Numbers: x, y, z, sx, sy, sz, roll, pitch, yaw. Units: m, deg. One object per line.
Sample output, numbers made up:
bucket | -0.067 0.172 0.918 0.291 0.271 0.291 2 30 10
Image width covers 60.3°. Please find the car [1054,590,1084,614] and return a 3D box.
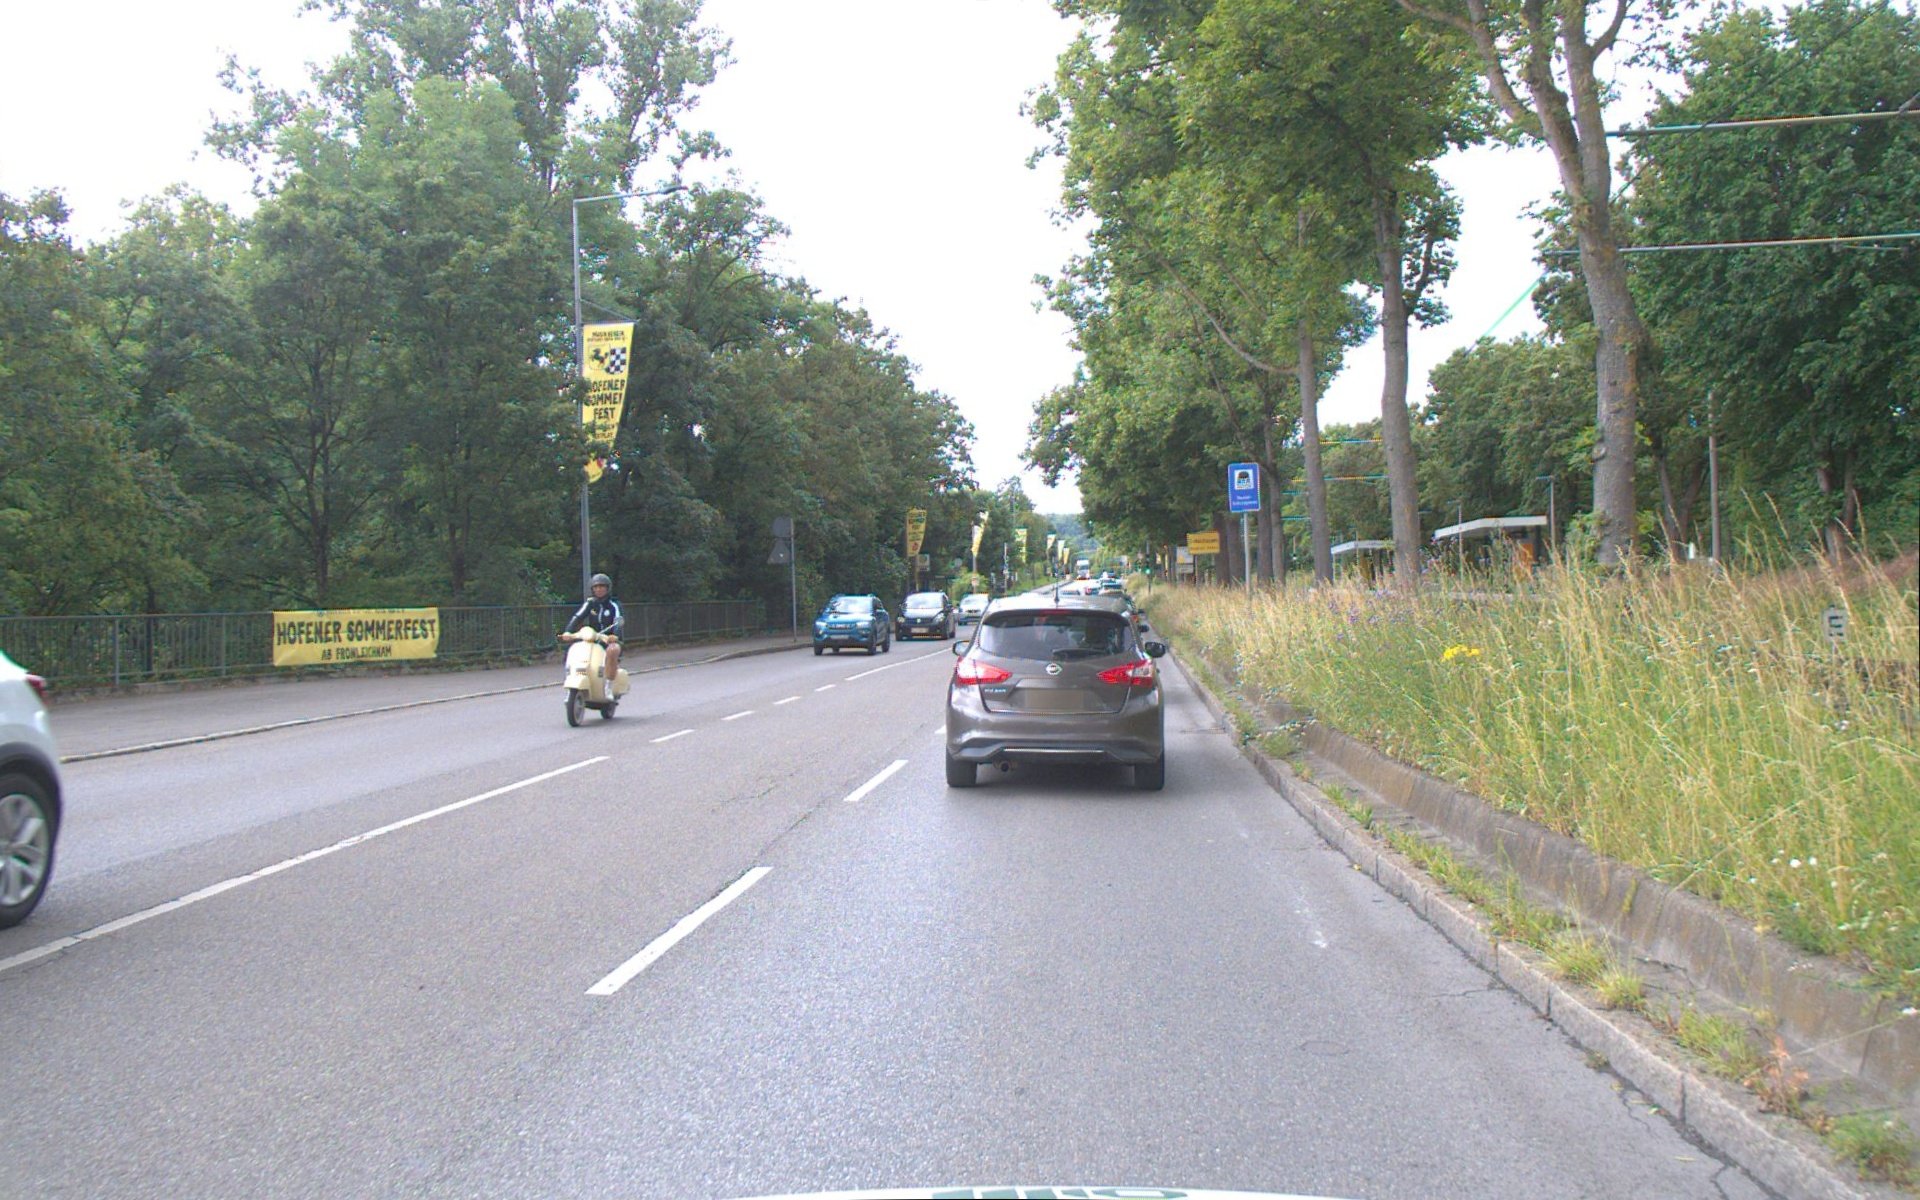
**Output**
car | 7.349 0.141 111.389 1.812 1.512 4.423 -1 -1 6

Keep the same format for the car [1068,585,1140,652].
car | 3.617 0.468 41.937 1.545 1.565 4.001 -2 -1 1

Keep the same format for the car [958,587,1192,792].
car | 0.857 0.707 14.381 1.738 1.520 3.999 1 -1 0

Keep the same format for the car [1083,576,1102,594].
car | 11.643 -1.293 145.346 1.682 1.426 3.727 -2 -2 5

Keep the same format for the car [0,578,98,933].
car | -4.998 0.668 5.768 1.730 1.505 4.002 0 0 3

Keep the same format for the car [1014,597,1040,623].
car | 4.836 0.764 119.792 1.682 1.723 3.727 -2 -2 5

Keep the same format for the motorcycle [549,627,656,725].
motorcycle | -4.157 0.861 19.376 0.729 1.051 1.889 0 0 4

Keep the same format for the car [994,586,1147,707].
car | 1.512 0.653 24.070 1.854 1.601 3.998 0 -1 -2

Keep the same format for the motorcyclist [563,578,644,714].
motorcyclist | -4.168 0.527 19.386 0.729 1.566 0.791 0 0 4

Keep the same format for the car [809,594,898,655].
car | -2.716 0.662 43.032 1.685 1.467 4.002 -2 -2 5

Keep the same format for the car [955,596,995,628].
car | 0.768 0.604 81.968 1.715 1.445 4.001 -2 -2 4

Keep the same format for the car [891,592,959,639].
car | -1.136 0.488 55.150 1.779 1.488 4.003 -1 0 5

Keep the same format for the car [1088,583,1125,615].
car | 7.416 -0.031 83.457 1.766 1.567 4.002 1 -1 6

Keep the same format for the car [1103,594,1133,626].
car | 9.465 0.617 99.204 1.682 1.723 4.002 -2 -2 5
